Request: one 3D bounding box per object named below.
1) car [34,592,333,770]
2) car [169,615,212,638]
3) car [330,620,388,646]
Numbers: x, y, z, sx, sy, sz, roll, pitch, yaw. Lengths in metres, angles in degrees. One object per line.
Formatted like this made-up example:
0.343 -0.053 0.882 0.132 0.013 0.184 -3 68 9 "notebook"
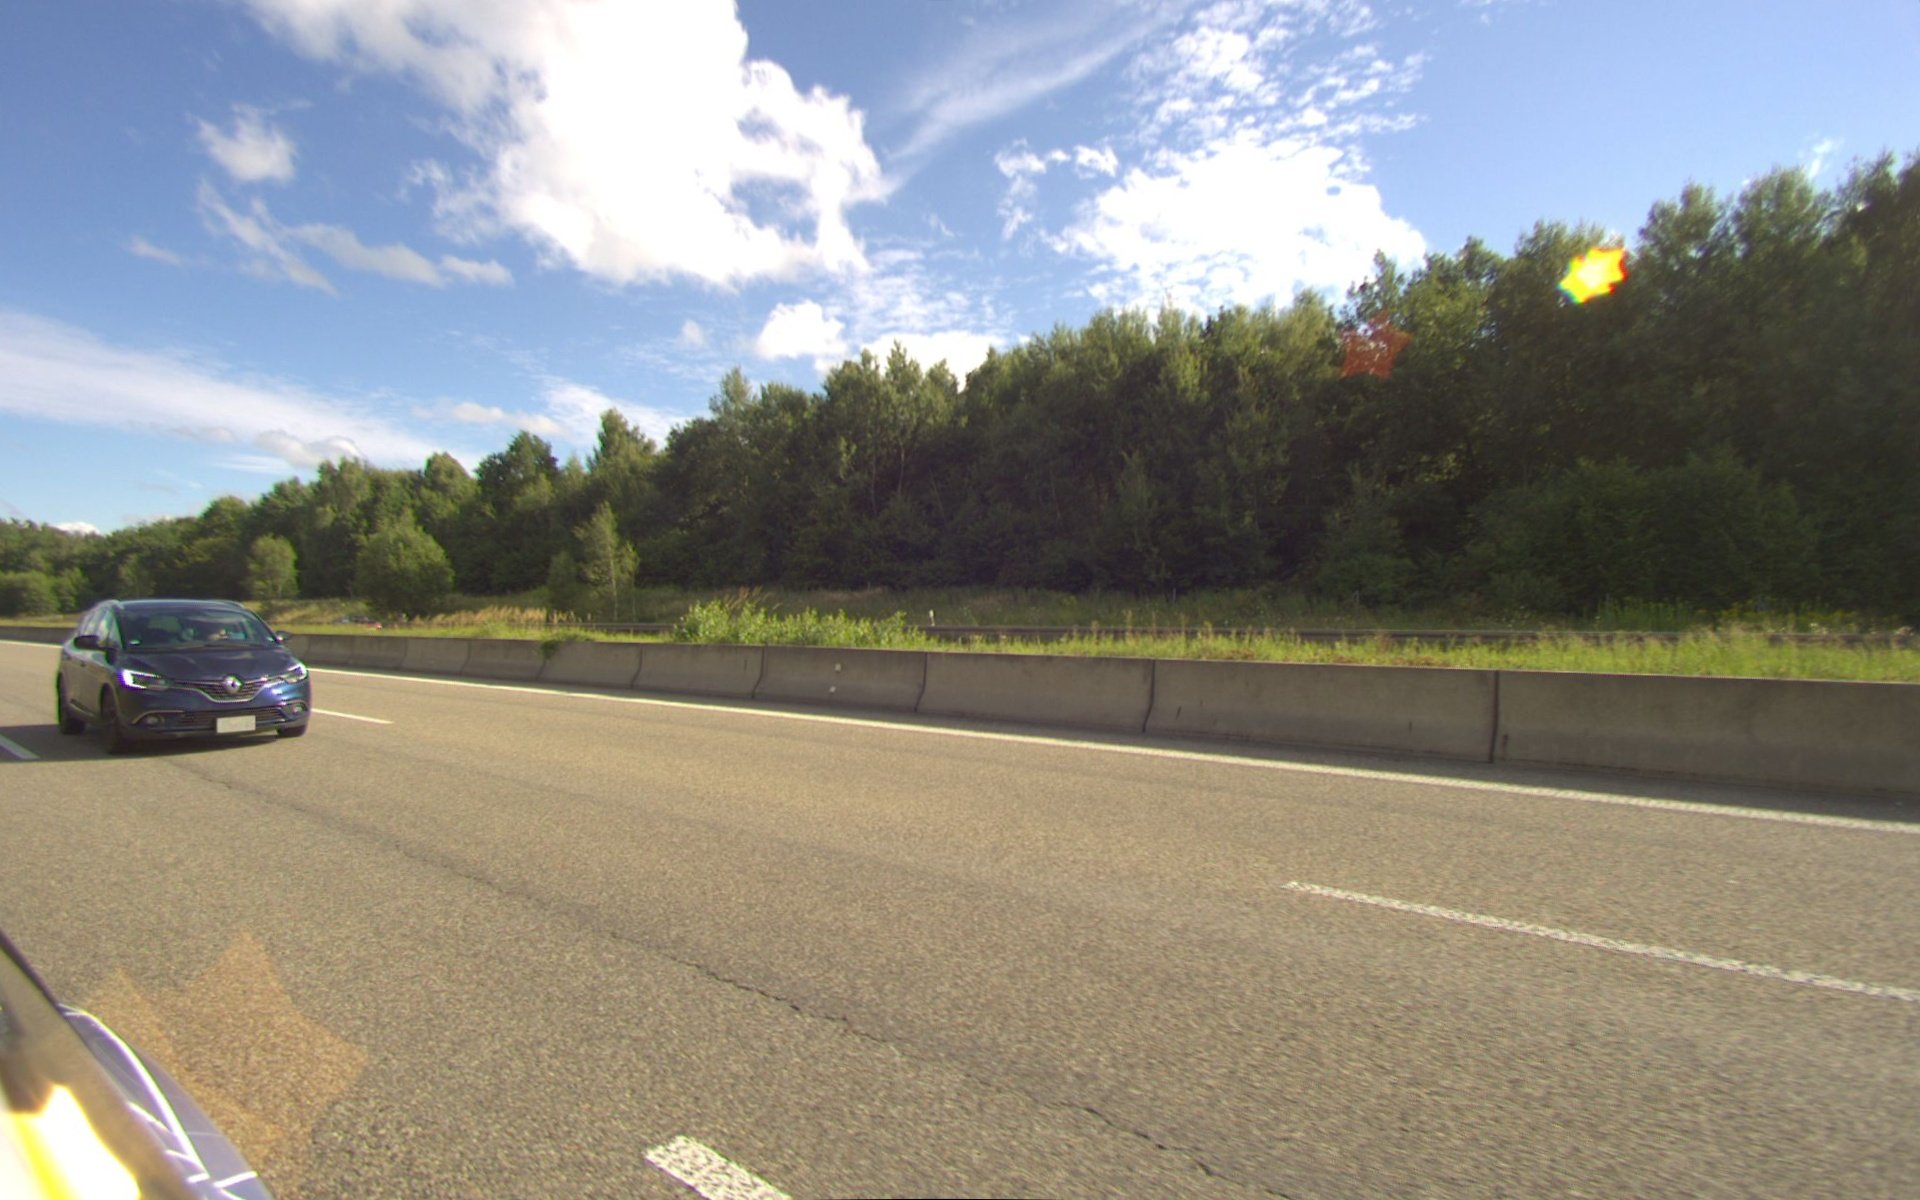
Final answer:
-9.365 0.814 12.064 4.527 1.719 1.973 -1 0 41 "car"
-61.296 2.102 80.610 3.998 1.814 1.973 -1 -1 41 "car"
-36.183 1.956 60.869 3.998 1.463 1.887 -1 -1 41 "car"
